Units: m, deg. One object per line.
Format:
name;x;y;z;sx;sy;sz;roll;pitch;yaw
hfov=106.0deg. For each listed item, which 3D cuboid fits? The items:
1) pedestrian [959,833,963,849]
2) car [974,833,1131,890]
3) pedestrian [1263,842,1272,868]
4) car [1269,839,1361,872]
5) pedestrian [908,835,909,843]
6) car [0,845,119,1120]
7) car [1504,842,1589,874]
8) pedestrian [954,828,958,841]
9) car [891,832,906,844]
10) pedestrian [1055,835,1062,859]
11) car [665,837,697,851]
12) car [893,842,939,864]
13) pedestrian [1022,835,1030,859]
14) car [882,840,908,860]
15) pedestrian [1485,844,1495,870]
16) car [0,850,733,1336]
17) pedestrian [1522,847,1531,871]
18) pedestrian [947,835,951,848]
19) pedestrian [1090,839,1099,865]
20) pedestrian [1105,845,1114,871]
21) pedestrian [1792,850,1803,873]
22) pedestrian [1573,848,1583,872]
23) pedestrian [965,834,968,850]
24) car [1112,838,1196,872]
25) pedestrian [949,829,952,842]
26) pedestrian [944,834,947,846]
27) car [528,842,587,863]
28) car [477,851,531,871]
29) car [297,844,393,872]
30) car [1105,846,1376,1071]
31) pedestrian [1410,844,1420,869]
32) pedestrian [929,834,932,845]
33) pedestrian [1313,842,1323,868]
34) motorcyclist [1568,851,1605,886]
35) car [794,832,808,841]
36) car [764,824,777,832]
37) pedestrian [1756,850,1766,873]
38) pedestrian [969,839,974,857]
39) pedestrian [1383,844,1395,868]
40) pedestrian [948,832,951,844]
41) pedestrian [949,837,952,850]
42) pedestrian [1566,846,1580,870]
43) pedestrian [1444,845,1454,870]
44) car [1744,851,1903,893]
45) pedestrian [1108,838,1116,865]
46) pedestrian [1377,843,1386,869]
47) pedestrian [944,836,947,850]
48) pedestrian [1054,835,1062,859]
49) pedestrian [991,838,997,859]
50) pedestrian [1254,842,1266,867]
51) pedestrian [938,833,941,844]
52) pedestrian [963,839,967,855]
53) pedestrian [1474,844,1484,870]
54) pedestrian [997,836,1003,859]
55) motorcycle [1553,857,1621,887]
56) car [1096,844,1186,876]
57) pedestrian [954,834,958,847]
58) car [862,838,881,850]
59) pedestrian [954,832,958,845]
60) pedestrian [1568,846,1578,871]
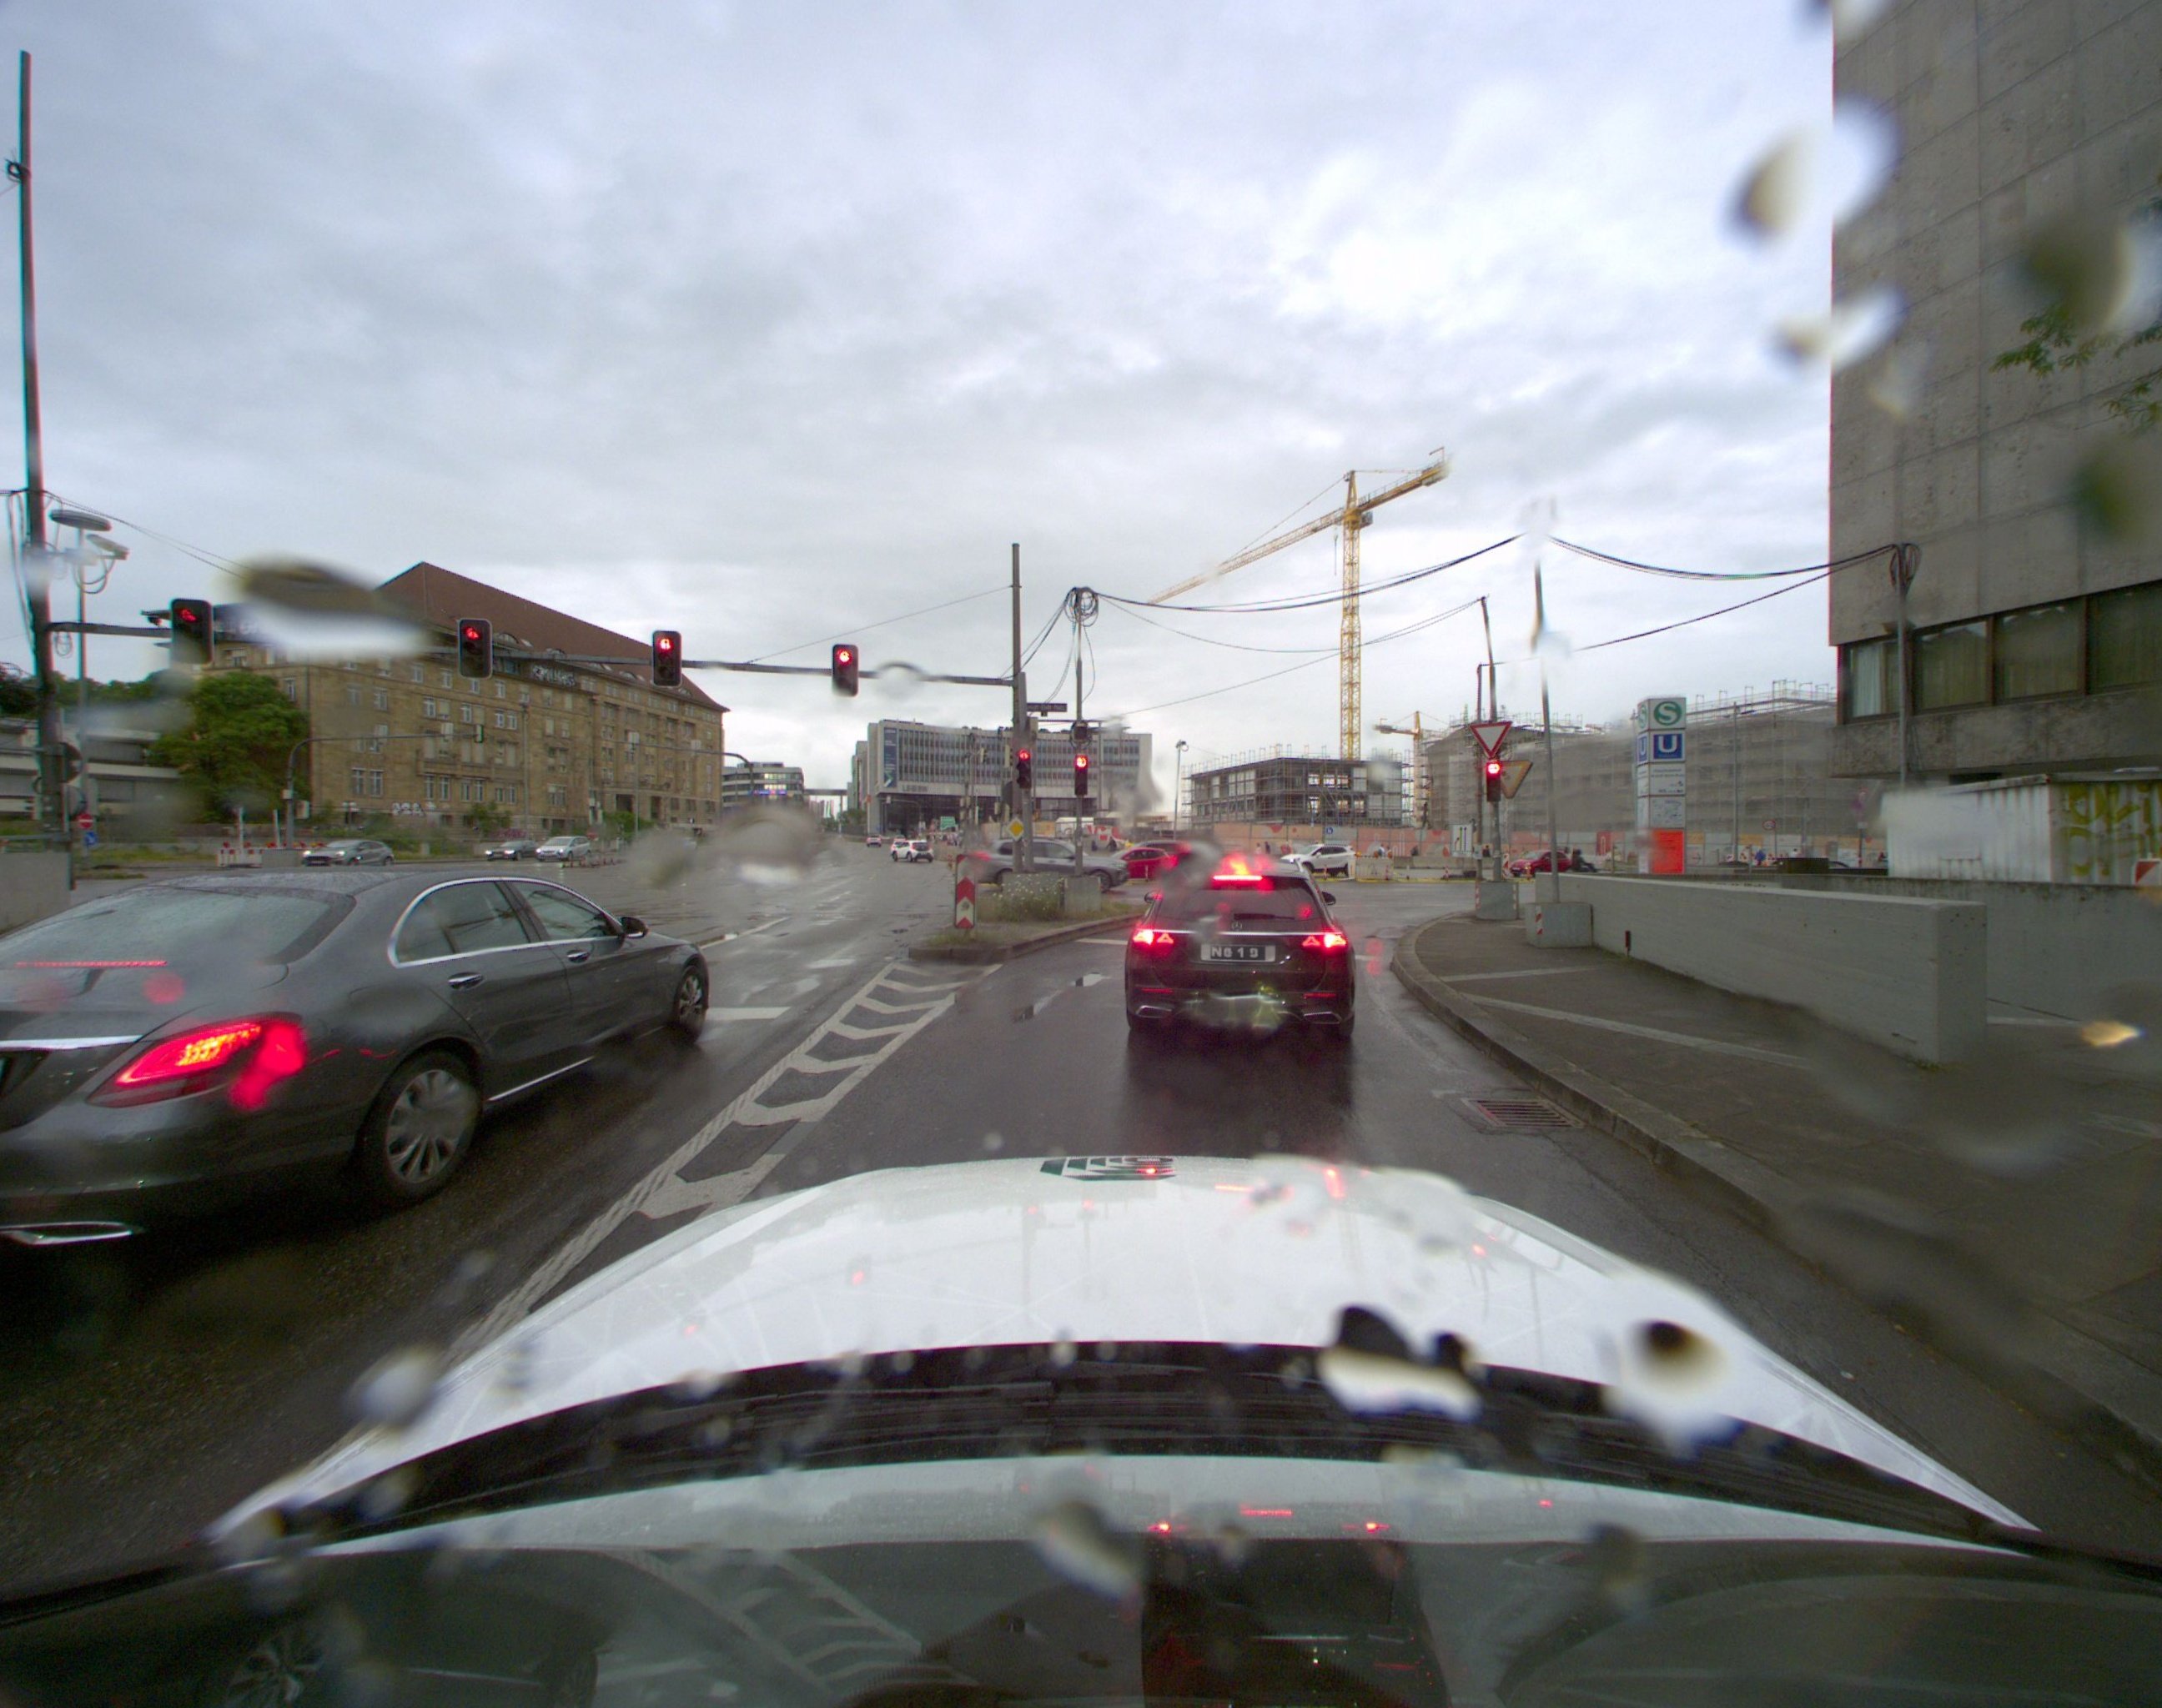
pedestrian;-14.935;-1.589;101.328;0.362;1.898;0.573;1;-1;-16
car;-0.925;0.253;27.958;5.057;1.798;2.005;1;-1;8
pedestrian;13.828;0.050;60.363;0.574;1.898;0.361;1;-1;-10
car;11.782;0.079;41.108;4.050;1.552;1.988;1;-1;-18
pedestrian;-39.320;-3.369;185.553;0.361;1.898;0.574;1;-1;-13
car;-6.749;0.671;2.468;1.883;1.515;4.994;1;-1;-4
car;26.215;0.267;45.882;3.995;1.708;1.989;1;-1;-16
pedestrian;-17.897;-2.793;116.673;0.362;1.898;0.573;1;-1;-16
car;-27.913;-2.480;124.625;1.733;1.639;3.412;1;2;-20
pedestrian;-1.725;-0.534;63.032;0.362;1.898;0.572;1;-1;-20
car;-38.619;-0.915;78.663;1.768;1.260;3.985;1;-1;-11
car;-11.609;-0.086;57.064;1.794;1.473;3.519;1;-1;-37
pedestrian;-4.340;-0.550;64.308;0.363;1.898;0.571;1;-1;-31
car;-17.536;-0.380;76.582;1.999;1.766;4.392;1;-1;-18
pedestrian;30.255;0.250;60.262;0.574;1.898;0.361;1;-1;-10
car;-3.751;0.723;4.693;1.779;1.402;4.481;1;1;-4
pedestrian;35.720;0.394;65.274;0.574;1.898;0.361;1;-1;-10
pedestrian;-20.158;-1.906;124.647;0.520;1.898;0.573;1;-1;-16
pedestrian;1.012;-0.125;60.234;0.570;1.898;0.364;0;-1;15
pedestrian;2.128;0.299;60.005;0.570;1.898;0.364;0;-1;15
pedestrian;60.132;0.655;68.346;0.574;1.898;0.361;1;-1;-10
pedestrian;40.674;0.486;66.645;0.575;1.898;0.360;1;-1;-14
pedestrian;-14.238;-1.495;101.343;0.362;1.898;0.573;1;-1;-16
car;3.867;0.082;43.312;3.993;1.734;1.990;1;-1;-15
pedestrian;-19.162;-2.764;119.821;0.362;1.898;0.573;1;-1;-16
pedestrian;-21.727;-2.177;130.895;0.362;1.898;0.573;1;-1;-16
car;-34.227;-0.071;53.407;1.768;1.260;4.178;1;-1;-11
car;-38.031;0.467;53.767;1.739;1.260;3.315;1;-1;-13
car;-35.257;0.201;39.170;1.625;1.260;3.982;1;-1;-13
car;1.372;0.756;7.764;1.881;1.544;4.001;1;-1;7
pedestrian;25.122;0.207;61.312;0.574;1.898;0.361;1;-1;-10
pedestrian;-26.481;-2.526;143.362;0.362;1.898;0.573;1;-1;-16
pedestrian;17.245;0.068;59.323;0.574;1.898;0.361;1;-1;-10
motorcyclist;19.679;0.561;31.718;0.942;1.358;0.849;1;-1;0
car;-64.267;-3.941;186.797;2.009;2.014;3.956;1;-1;-36
car;-82.458;-6.903;216.534;2.010;1.816;3.953;2;-1;-40
pedestrian;57.611;0.637;68.959;0.574;1.898;0.361;1;-1;-10
pedestrian;-11.803;-0.618;87.663;0.362;1.898;0.573;1;-1;-16
pedestrian;24.057;0.148;63.565;0.656;1.901;0.629;1;-1;-12
pedestrian;-21.108;-2.630;131.070;0.362;1.898;0.573;1;-1;-16
pedestrian;-18.682;-1.525;116.289;0.361;1.898;0.574;1;-1;-12
pedestrian;38.893;0.347;64.358;0.798;1.898;0.563;1;-1;-13
pedestrian;28.402;0.271;62.825;0.575;1.898;0.361;1;-1;-11
car;27.964;0.674;30.794;4.079;1.507;2.003;1;-1;5
pedestrian;2.227;-0.184;58.564;0.574;1.898;0.361;1;-1;-6
pedestrian;22.499;0.168;60.997;0.574;1.898;0.361;1;-1;-10
pedestrian;-18.835;-1.570;113.279;0.362;1.898;0.573;1;-1;-16
pedestrian;-1.809;-0.536;63.034;0.363;1.898;0.570;1;-1;-32
pedestrian;-8.263;-0.522;77.348;0.362;1.898;0.572;1;-1;-20
pedestrian;13.442;0.031;61.139;0.656;1.901;0.629;1;-1;-12
pedestrian;-24.513;-2.621;141.075;0.362;1.898;0.573;1;-1;-16
pedestrian;-13.624;-0.793;95.471;0.362;1.898;0.573;1;-1;-16
pedestrian;29.576;0.246;60.569;0.574;1.898;0.361;1;-1;-10
pedestrian;-6.856;-0.527;68.989;0.363;1.898;0.572;1;-1;-24
motorcycle;19.683;0.708;31.700;2.129;1.108;0.851;1;-1;0
car;2.569;0.254;35.271;3.542;1.304;1.656;1;-1;-17
pedestrian;-17.623;-1.916;114.925;0.362;1.898;0.573;1;-1;-16
car;-29.215;-1.373;113.476;2.002;1.640;3.970;1;-1;-23
pedestrian;-19.397;-2.404;126.714;0.520;1.898;0.573;1;-1;-16
pedestrian;37.482;0.368;62.046;0.574;1.898;0.361;1;-1;-10
